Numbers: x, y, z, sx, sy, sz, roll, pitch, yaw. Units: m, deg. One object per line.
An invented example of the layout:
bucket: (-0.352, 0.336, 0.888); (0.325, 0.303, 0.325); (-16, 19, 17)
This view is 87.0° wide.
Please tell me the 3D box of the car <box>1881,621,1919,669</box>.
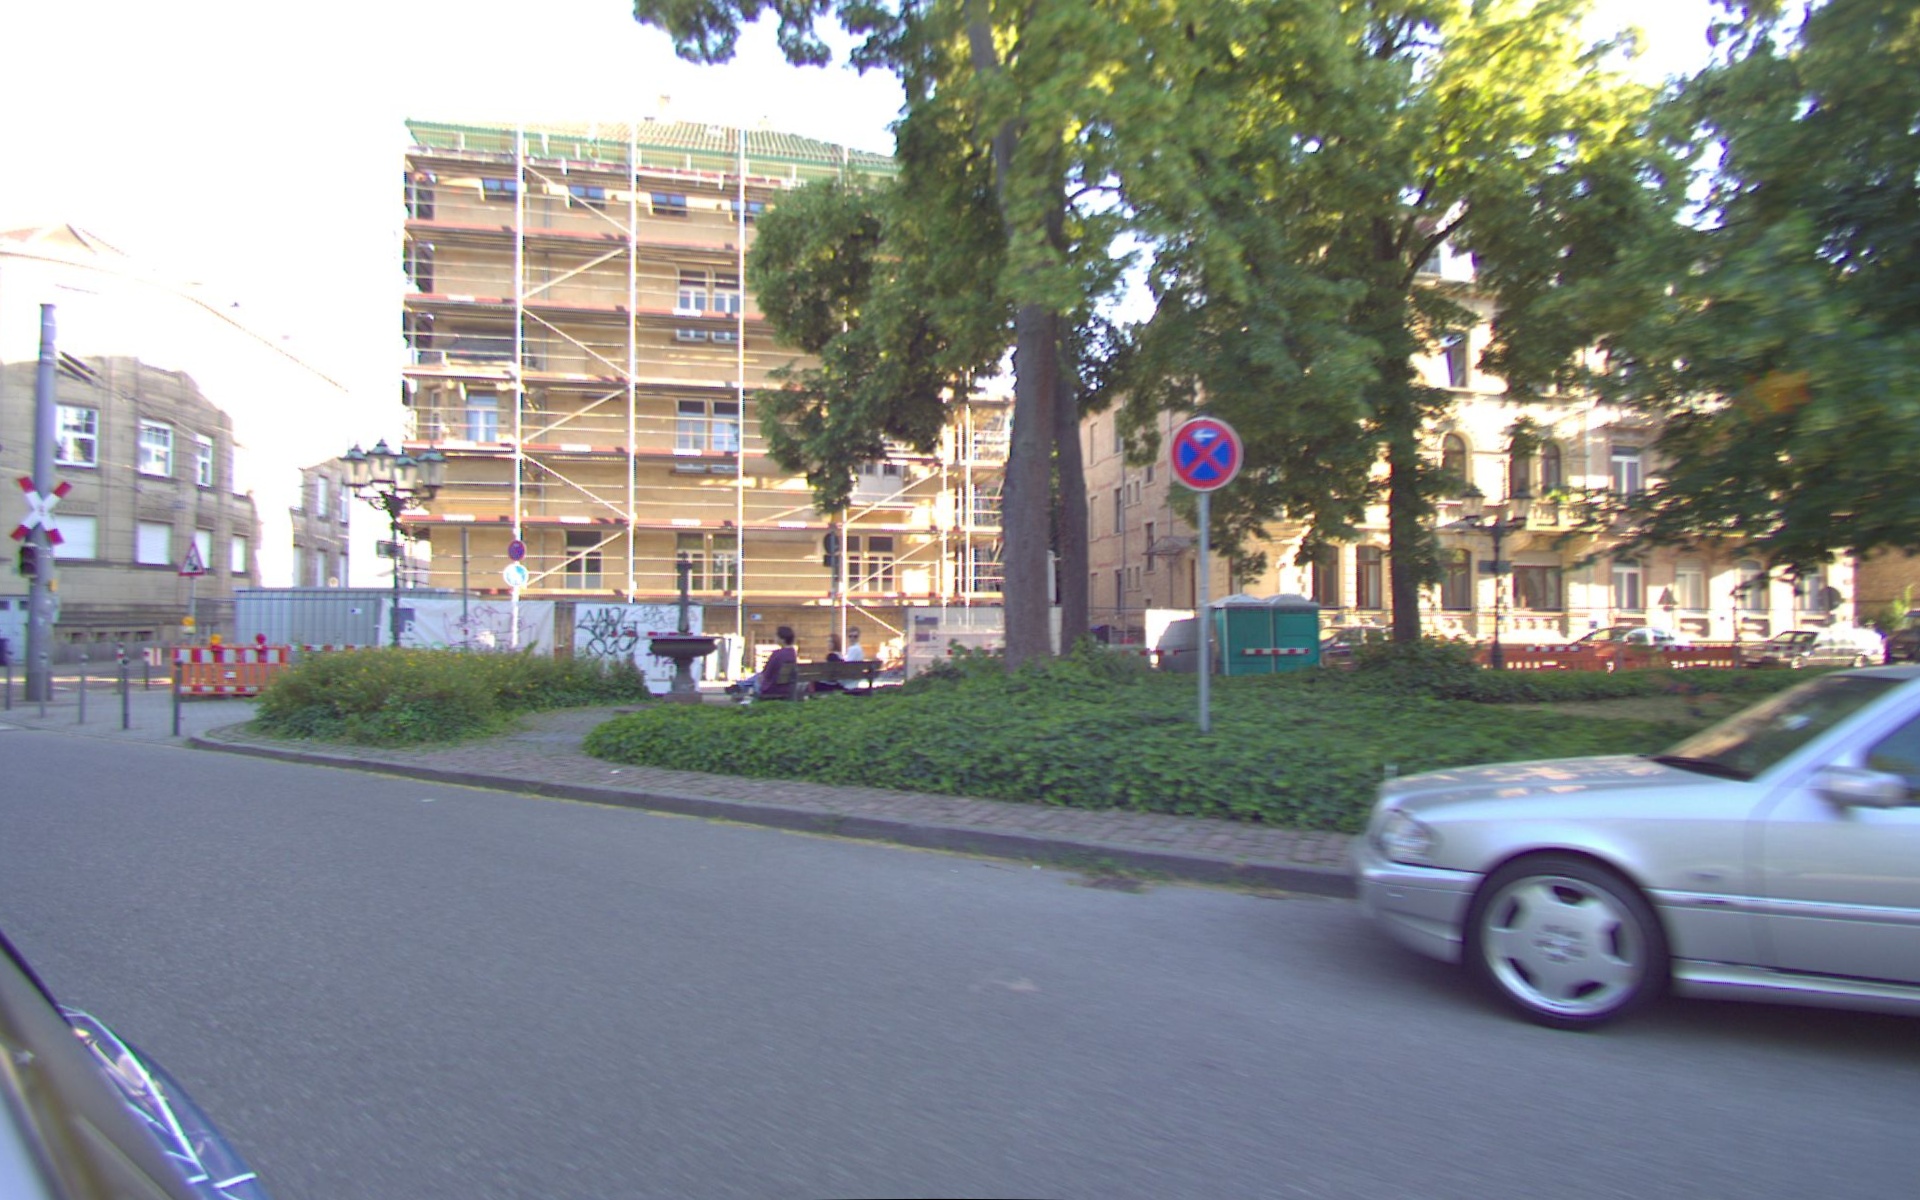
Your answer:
car: (35.690, 1.583, 36.197); (4.150, 1.668, 2.005); (0, -2, -12)

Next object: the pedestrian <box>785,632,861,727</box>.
pedestrian: (-1.801, 1.021, 13.278); (0.883, 1.204, 0.545); (-2, -3, 41)

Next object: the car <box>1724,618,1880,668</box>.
car: (29.288, 1.459, 35.242); (4.150, 1.668, 2.005); (0, -2, -12)

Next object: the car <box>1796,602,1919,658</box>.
car: (38.524, 1.276, 43.068); (1.860, 2.279, 4.231); (0, -2, -13)

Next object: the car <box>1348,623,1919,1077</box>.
car: (3.922, 0.830, 3.751); (4.476, 1.426, 1.768); (-1, -4, 28)

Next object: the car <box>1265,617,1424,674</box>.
car: (11.764, 1.367, 31.040); (4.150, 1.668, 1.917); (0, -2, -12)

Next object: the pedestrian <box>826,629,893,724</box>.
pedestrian: (-1.359, 1.016, 13.671); (0.724, 1.242, 0.545); (-2, -3, 41)

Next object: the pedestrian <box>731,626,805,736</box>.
pedestrian: (-2.373, 0.985, 12.524); (0.765, 1.308, 0.545); (-2, -3, 41)

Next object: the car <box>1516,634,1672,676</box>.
car: (20.850, 1.771, 33.353); (4.150, 1.287, 1.917); (0, -2, -12)
